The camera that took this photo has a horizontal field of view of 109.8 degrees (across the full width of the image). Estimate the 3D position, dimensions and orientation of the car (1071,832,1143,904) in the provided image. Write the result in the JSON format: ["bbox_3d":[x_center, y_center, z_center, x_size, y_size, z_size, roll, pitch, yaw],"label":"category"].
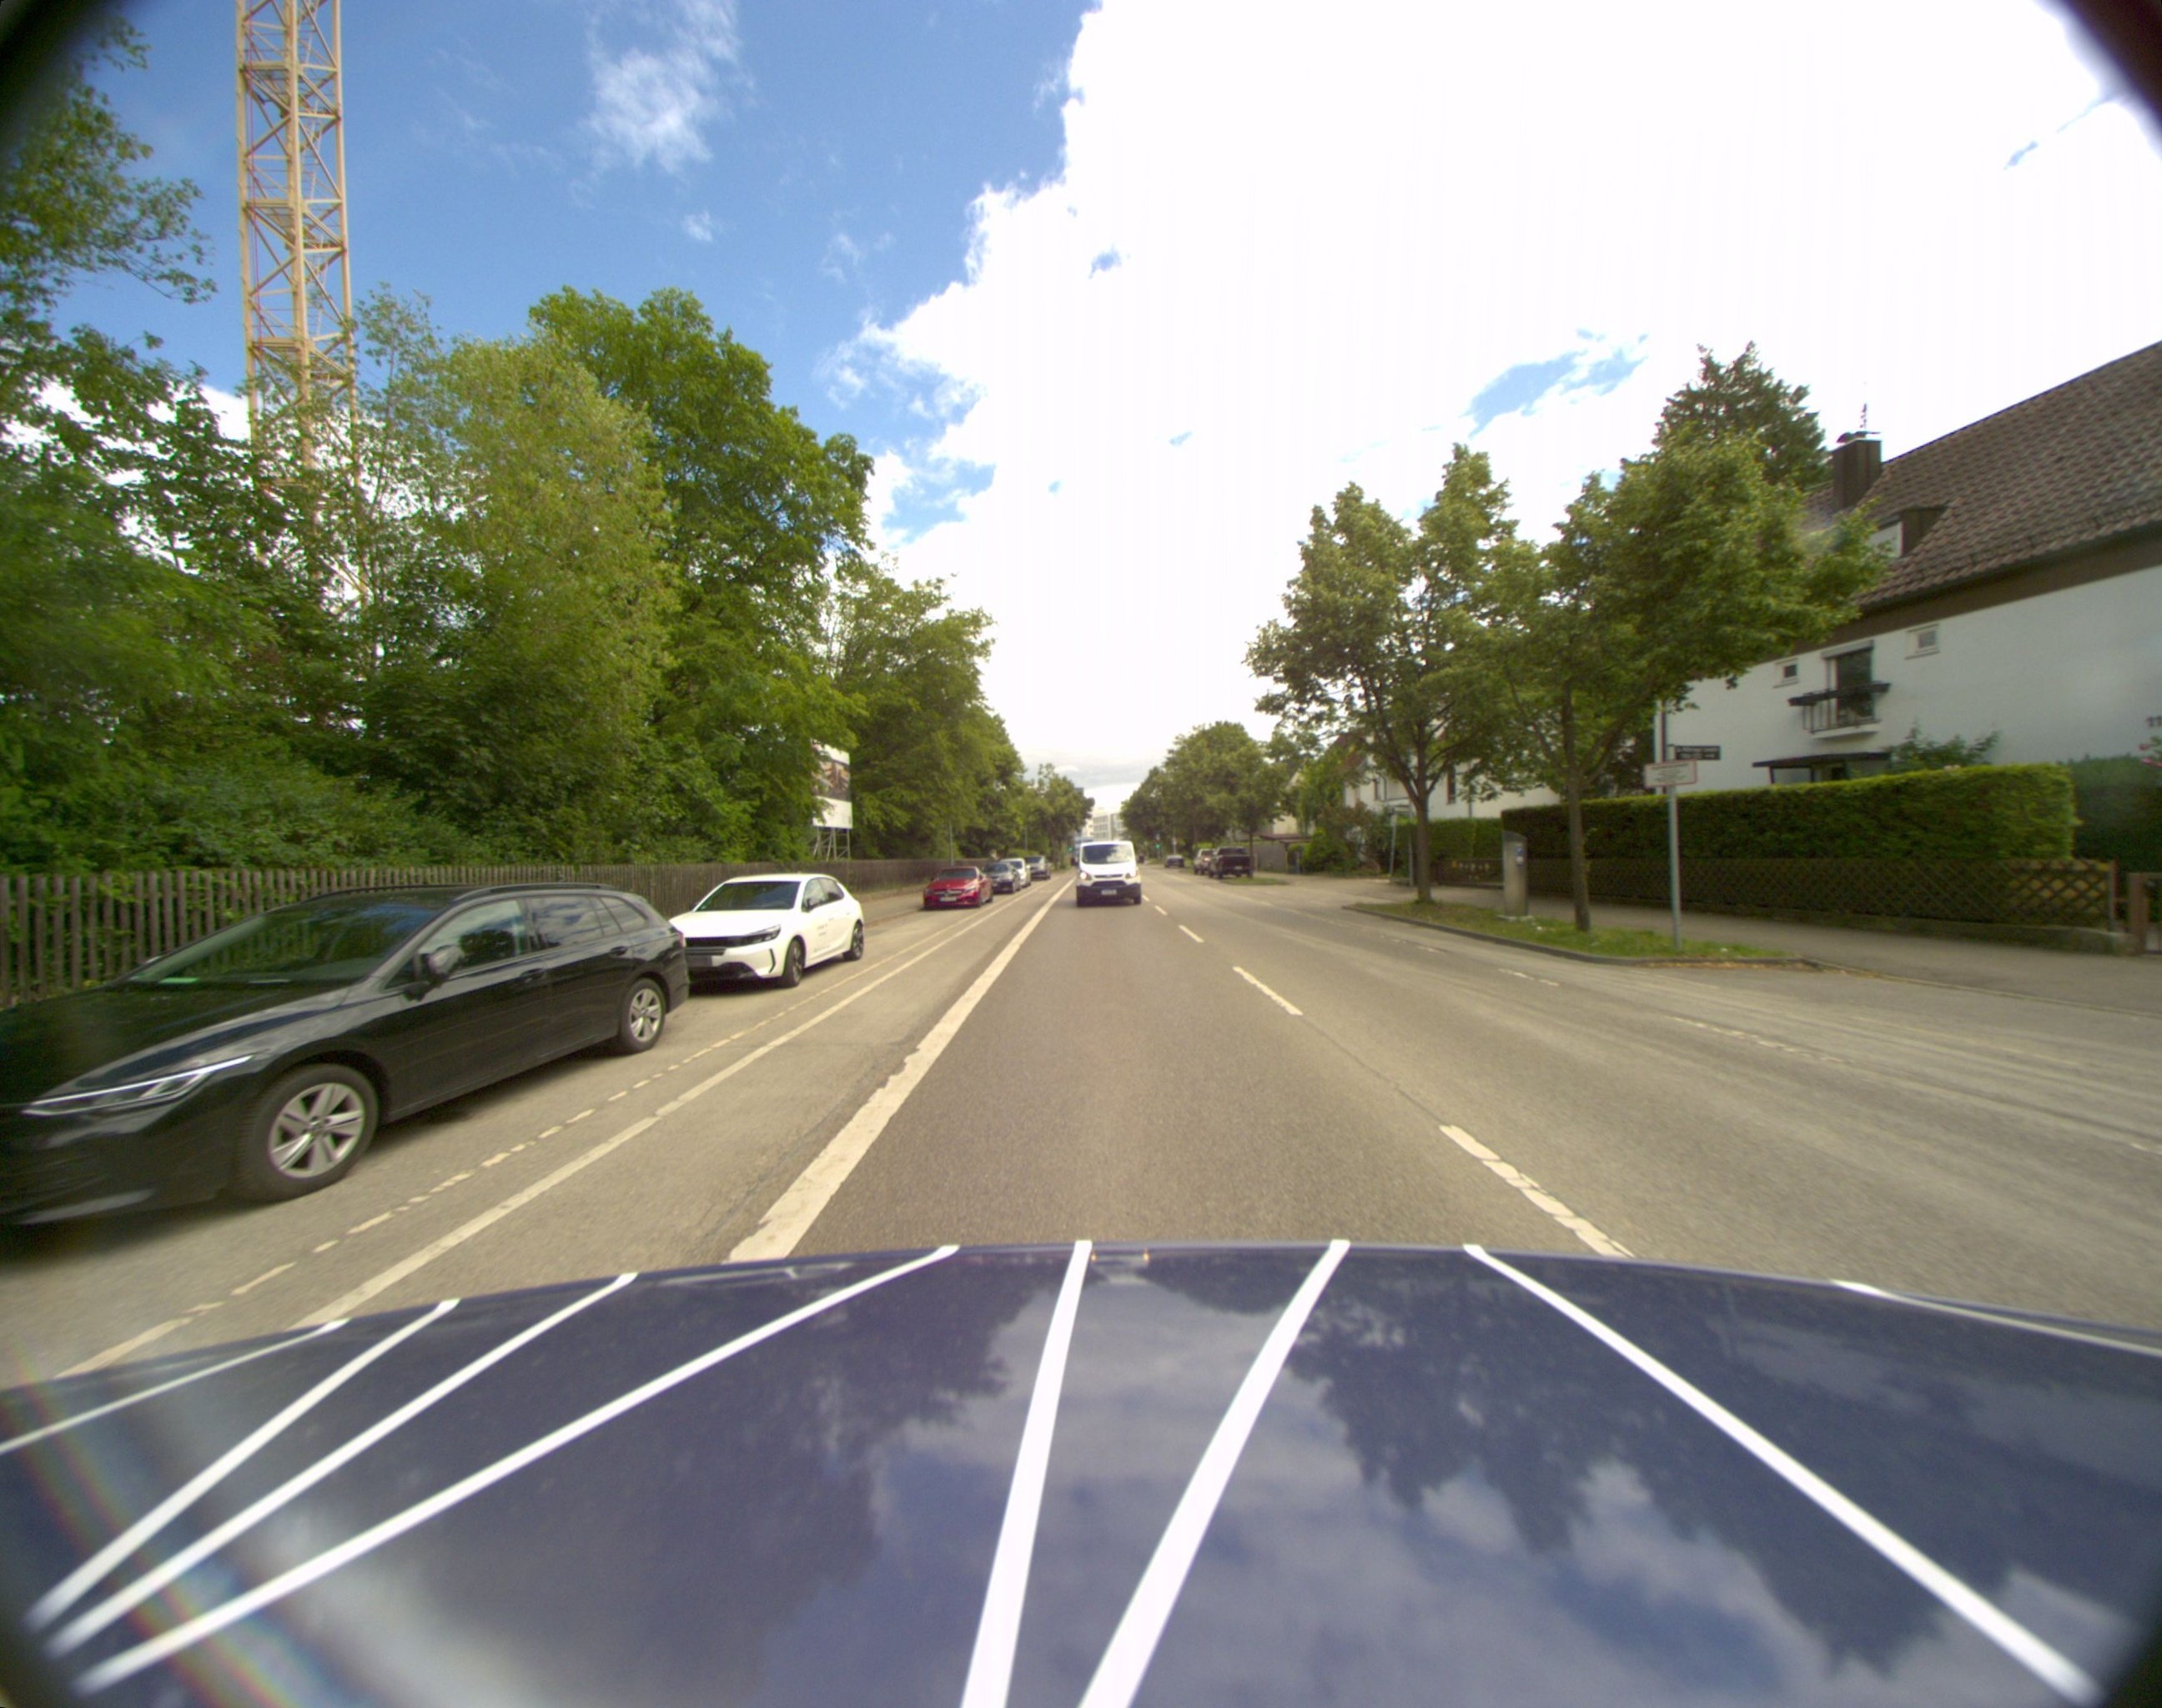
[{"bbox_3d":[0.856,0.384,24.893,1.998,2.002,5.188,-3,1,2],"label":"car"}]

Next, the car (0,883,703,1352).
[{"bbox_3d":[-4.553,1.063,4.987,1.706,1.501,4.538,-3,0,1],"label":"car"}]

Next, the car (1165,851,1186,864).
[{"bbox_3d":[10.216,0.351,82.322,1.750,1.400,4.927,0,0,1],"label":"car"}]

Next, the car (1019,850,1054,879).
[{"bbox_3d":[-3.087,0.702,53.678,1.998,1.805,4.827,-3,1,2],"label":"car"}]

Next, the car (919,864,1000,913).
[{"bbox_3d":[-4.098,1.111,26.301,1.863,1.405,4.444,-4,0,2],"label":"car"}]

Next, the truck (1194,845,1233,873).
[{"bbox_3d":[9.284,0.292,53.632,1.971,1.857,5.664,0,1,2],"label":"truck"}]

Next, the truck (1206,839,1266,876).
[{"bbox_3d":[9.262,0.188,45.971,2.429,2.031,5.995,-2,0,1],"label":"truck"}]

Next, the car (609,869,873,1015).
[{"bbox_3d":[-4.489,1.066,10.814,1.772,1.501,4.030,-2,1,2],"label":"car"}]

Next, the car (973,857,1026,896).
[{"bbox_3d":[-3.749,1.002,35.649,1.820,1.506,4.679,-3,1,1],"label":"car"}]

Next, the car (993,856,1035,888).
[{"bbox_3d":[-3.628,0.938,41.666,1.867,1.580,4.421,-2,0,0],"label":"car"}]
